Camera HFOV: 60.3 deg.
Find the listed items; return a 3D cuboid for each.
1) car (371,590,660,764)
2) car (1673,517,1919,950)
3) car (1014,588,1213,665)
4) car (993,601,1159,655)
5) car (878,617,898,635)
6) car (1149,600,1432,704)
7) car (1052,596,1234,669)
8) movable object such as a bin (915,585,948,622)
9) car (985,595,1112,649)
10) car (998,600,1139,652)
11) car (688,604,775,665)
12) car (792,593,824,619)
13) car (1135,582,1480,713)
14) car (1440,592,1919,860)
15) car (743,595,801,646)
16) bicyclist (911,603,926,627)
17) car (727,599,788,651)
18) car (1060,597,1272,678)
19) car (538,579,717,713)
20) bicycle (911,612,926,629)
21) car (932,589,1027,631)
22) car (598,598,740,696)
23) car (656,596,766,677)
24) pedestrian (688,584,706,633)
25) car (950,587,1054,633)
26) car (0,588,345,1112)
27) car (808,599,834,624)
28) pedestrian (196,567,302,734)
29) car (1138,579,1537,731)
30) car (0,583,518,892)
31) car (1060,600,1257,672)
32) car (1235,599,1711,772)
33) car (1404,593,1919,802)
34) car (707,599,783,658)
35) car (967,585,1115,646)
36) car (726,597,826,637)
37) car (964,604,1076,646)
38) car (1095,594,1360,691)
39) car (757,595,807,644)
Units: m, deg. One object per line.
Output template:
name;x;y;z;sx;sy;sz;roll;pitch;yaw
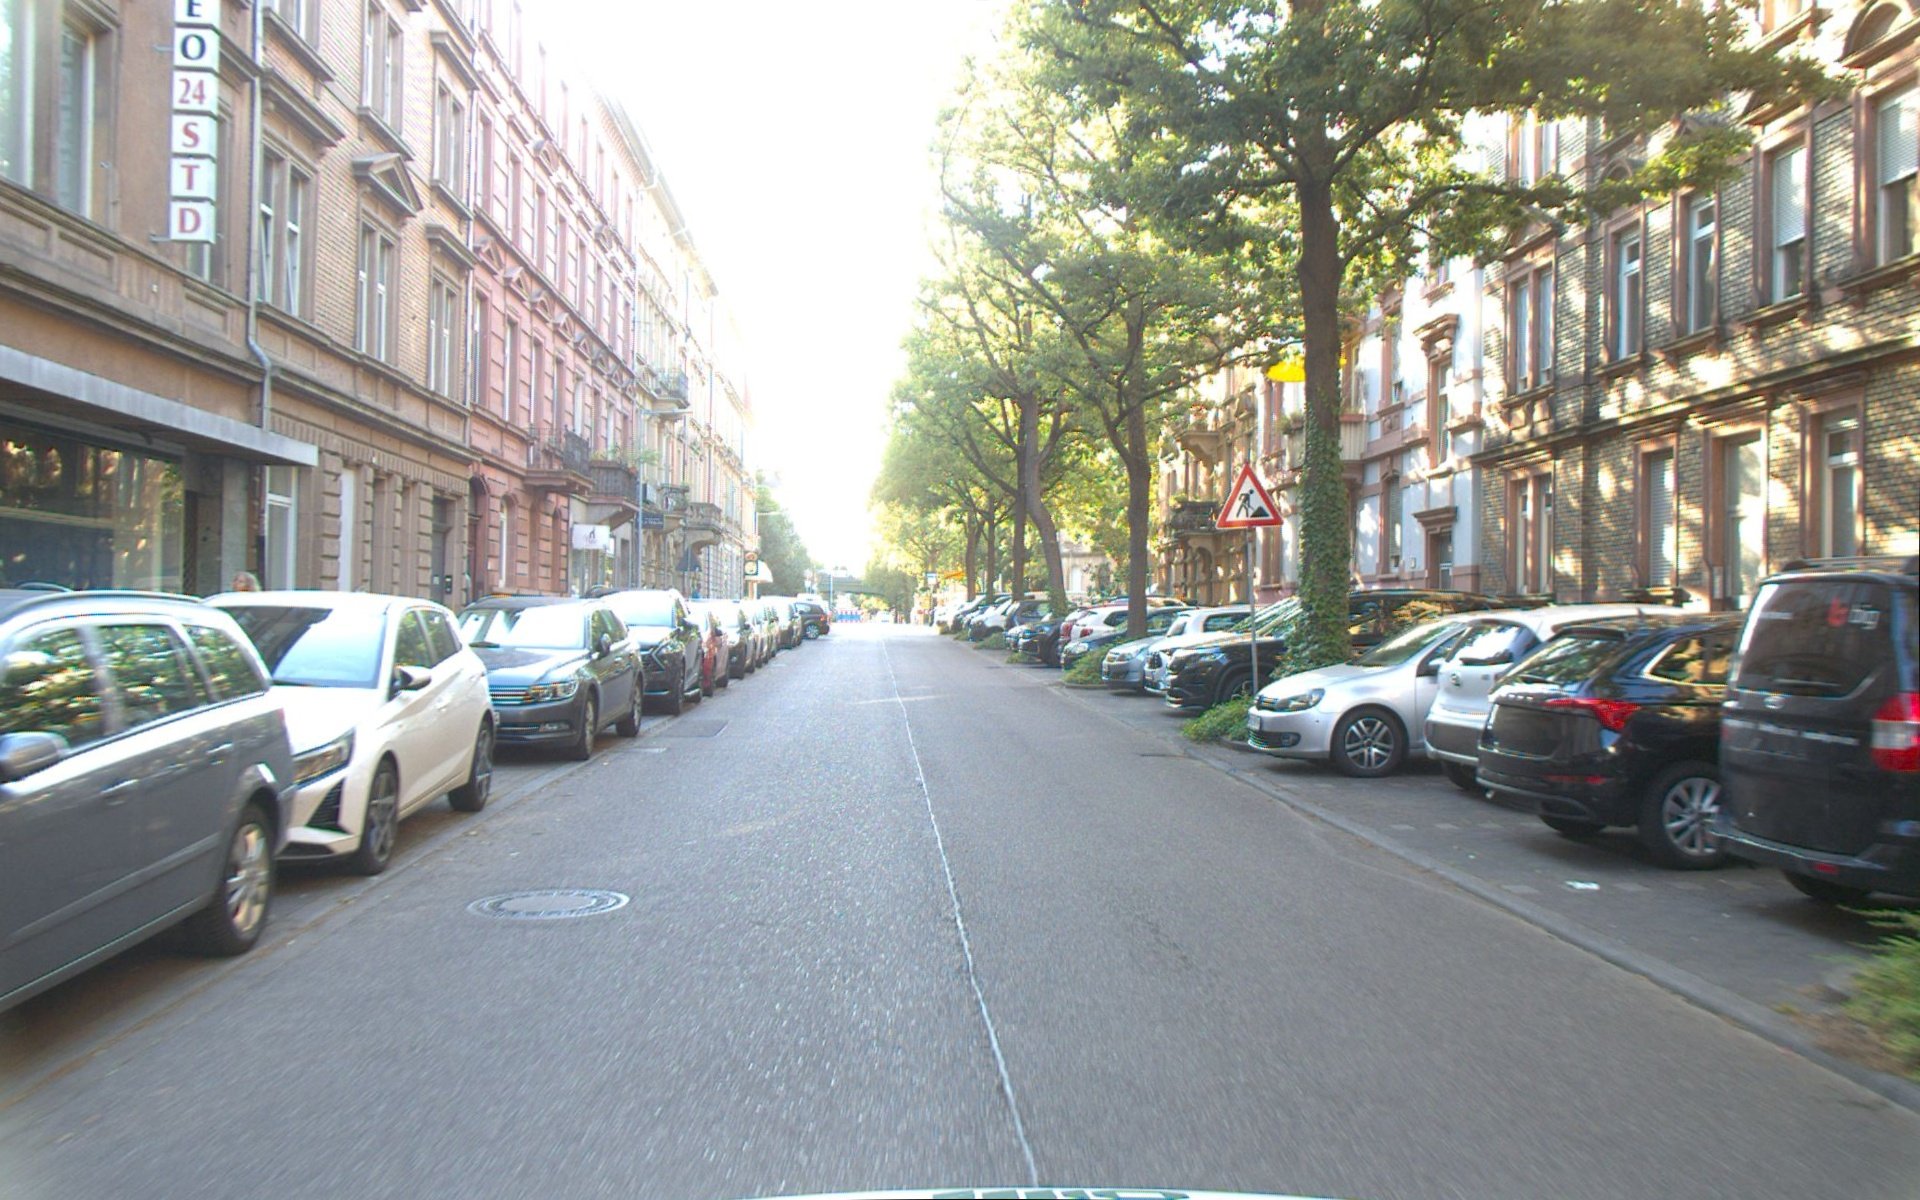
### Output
car;-4.267;0.670;16.612;1.825;1.498;4.486;1;0;-2
car;5.882;0.584;7.988;4.041;1.819;1.944;1;0;-2
car;3.721;0.621;40.487;4.556;1.732;1.879;-1;0;-7
car;3.373;0.808;48.465;4.570;1.529;1.929;1;0;-7
car;-6.487;2.331;149.404;1.714;1.535;3.997;1;0;-3
car;5.105;0.784;25.892;4.018;1.495;1.800;1;0;-2
car;4.191;0.736;38.208;3.910;1.618;1.780;0;0;-7
movable object such as a bin;-2.201;0.298;128.091;1.951;2.747;3.113;1;-1;10
car;2.822;0.709;53.166;3.811;1.678;1.722;1;0;-8
car;3.290;0.776;50.577;4.028;1.529;1.808;1;0;-8
car;-5.354;0.789;39.141;1.671;1.346;4.098;1;0;-3
car;-8.656;0.337;94.475;1.730;1.462;4.296;1;0;-5
car;4.793;0.667;23.187;4.388;1.685;1.889;1;-2;-5
car;5.420;0.712;10.617;4.063;1.480;1.935;-1;0;-4
car;-6.136;0.655;54.288;1.615;1.498;3.997;4;0;-4
bicyclist;-2.448;0.884;97.214;0.787;1.407;0.984;2;-1;-4
car;-6.096;0.726;50.081;1.550;1.499;3.997;1;0;-4
car;4.043;0.726;32.885;3.908;1.412;1.676;-2;0;-4
car;-4.531;0.587;23.124;1.785;1.628;4.311;2;0;-3
bicycle;-2.466;1.201;97.310;0.787;0.985;2.107;2;-1;-4
car;1.014;0.534;88.048;4.874;2.133;2.104;1;0;-3
car;-4.785;0.732;27.739;1.785;1.450;4.311;2;0;-3
car;-5.080;0.702;34.276;1.785;1.503;4.420;2;0;-3
pedestrian;-10.355;0.322;65.089;0.628;1.921;0.589;1;0;-17
car;1.894;0.454;75.169;4.526;2.049;1.998;1;0;-6
car;-3.691;0.692;5.546;1.849;1.469;4.538;1;0;-5
car;-9.287;0.761;110.004;1.637;1.557;3.995;1;-1;-6
pedestrian;-7.307;0.503;17.043;0.682;1.660;1.017;1;0;-4
car;4.476;0.664;20.060;4.385;1.685;1.891;1;-2;-2
car;-3.997;0.674;10.138;1.722;1.498;4.085;1;0;-4
car;4.234;0.769;35.611;3.910;1.488;1.780;0;0;-7
car;4.690;0.761;15.468;3.907;1.482;1.686;1;0;-3
car;5.727;0.740;13.131;3.910;1.521;1.685;1;0;-6
car;-5.646;0.726;43.808;1.671;1.464;3.956;1;0;-3
car;2.795;0.558;57.877;4.990;1.974;2.156;1;-4;-3
car;-7.393;0.666;66.164;3.913;1.556;1.822;0;0;-9
car;2.221;0.919;61.680;3.915;1.500;1.777;-1;0;-11
car;4.530;0.707;28.319;4.141;1.563;1.799;1;0;-6
car;-6.408;0.674;59.218;1.616;1.601;4.043;4;0;-7
